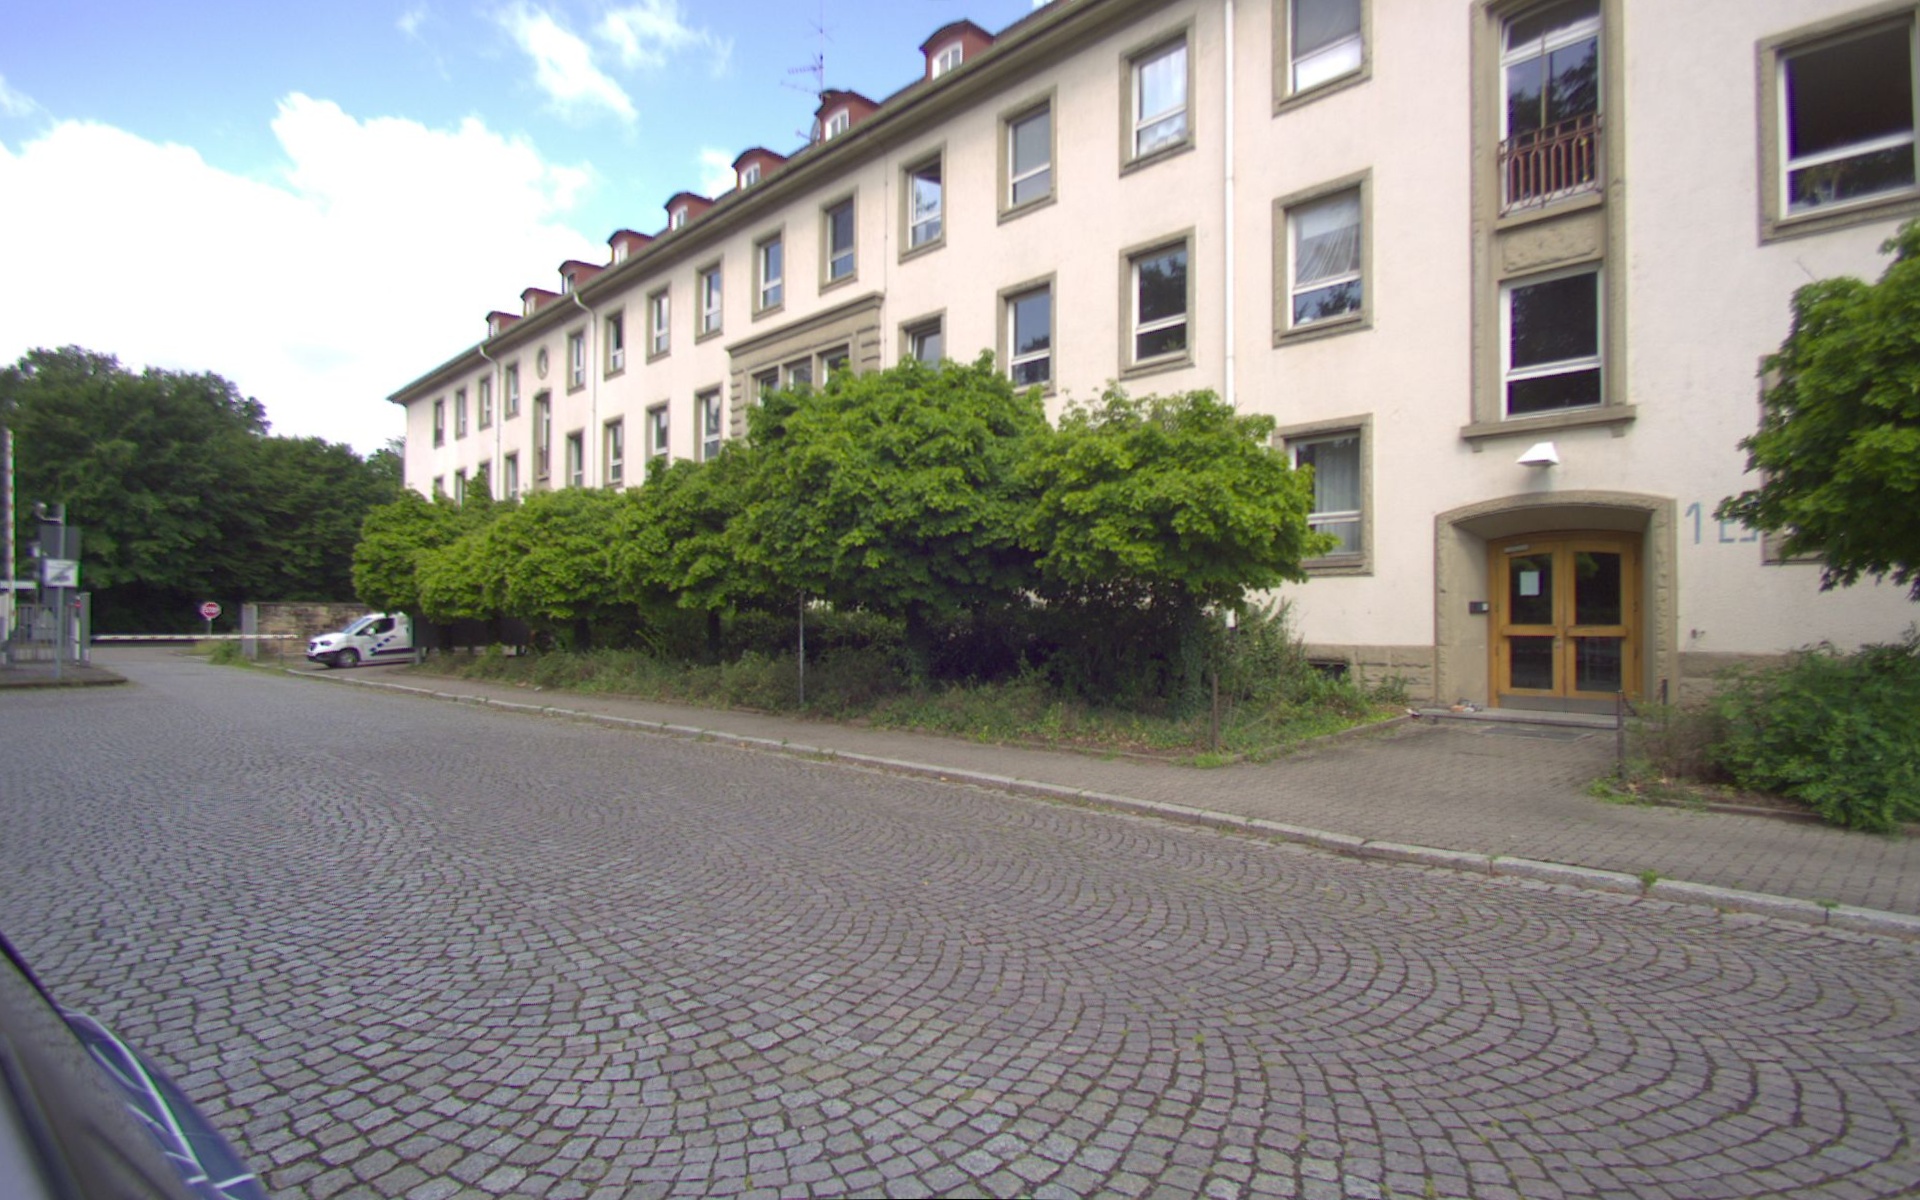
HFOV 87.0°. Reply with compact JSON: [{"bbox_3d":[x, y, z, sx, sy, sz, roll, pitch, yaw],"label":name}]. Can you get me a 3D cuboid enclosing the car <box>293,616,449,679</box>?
[{"bbox_3d":[-20.140,1.553,34.740,1.821,1.819,4.254,-1,2,43],"label":"car"}]
